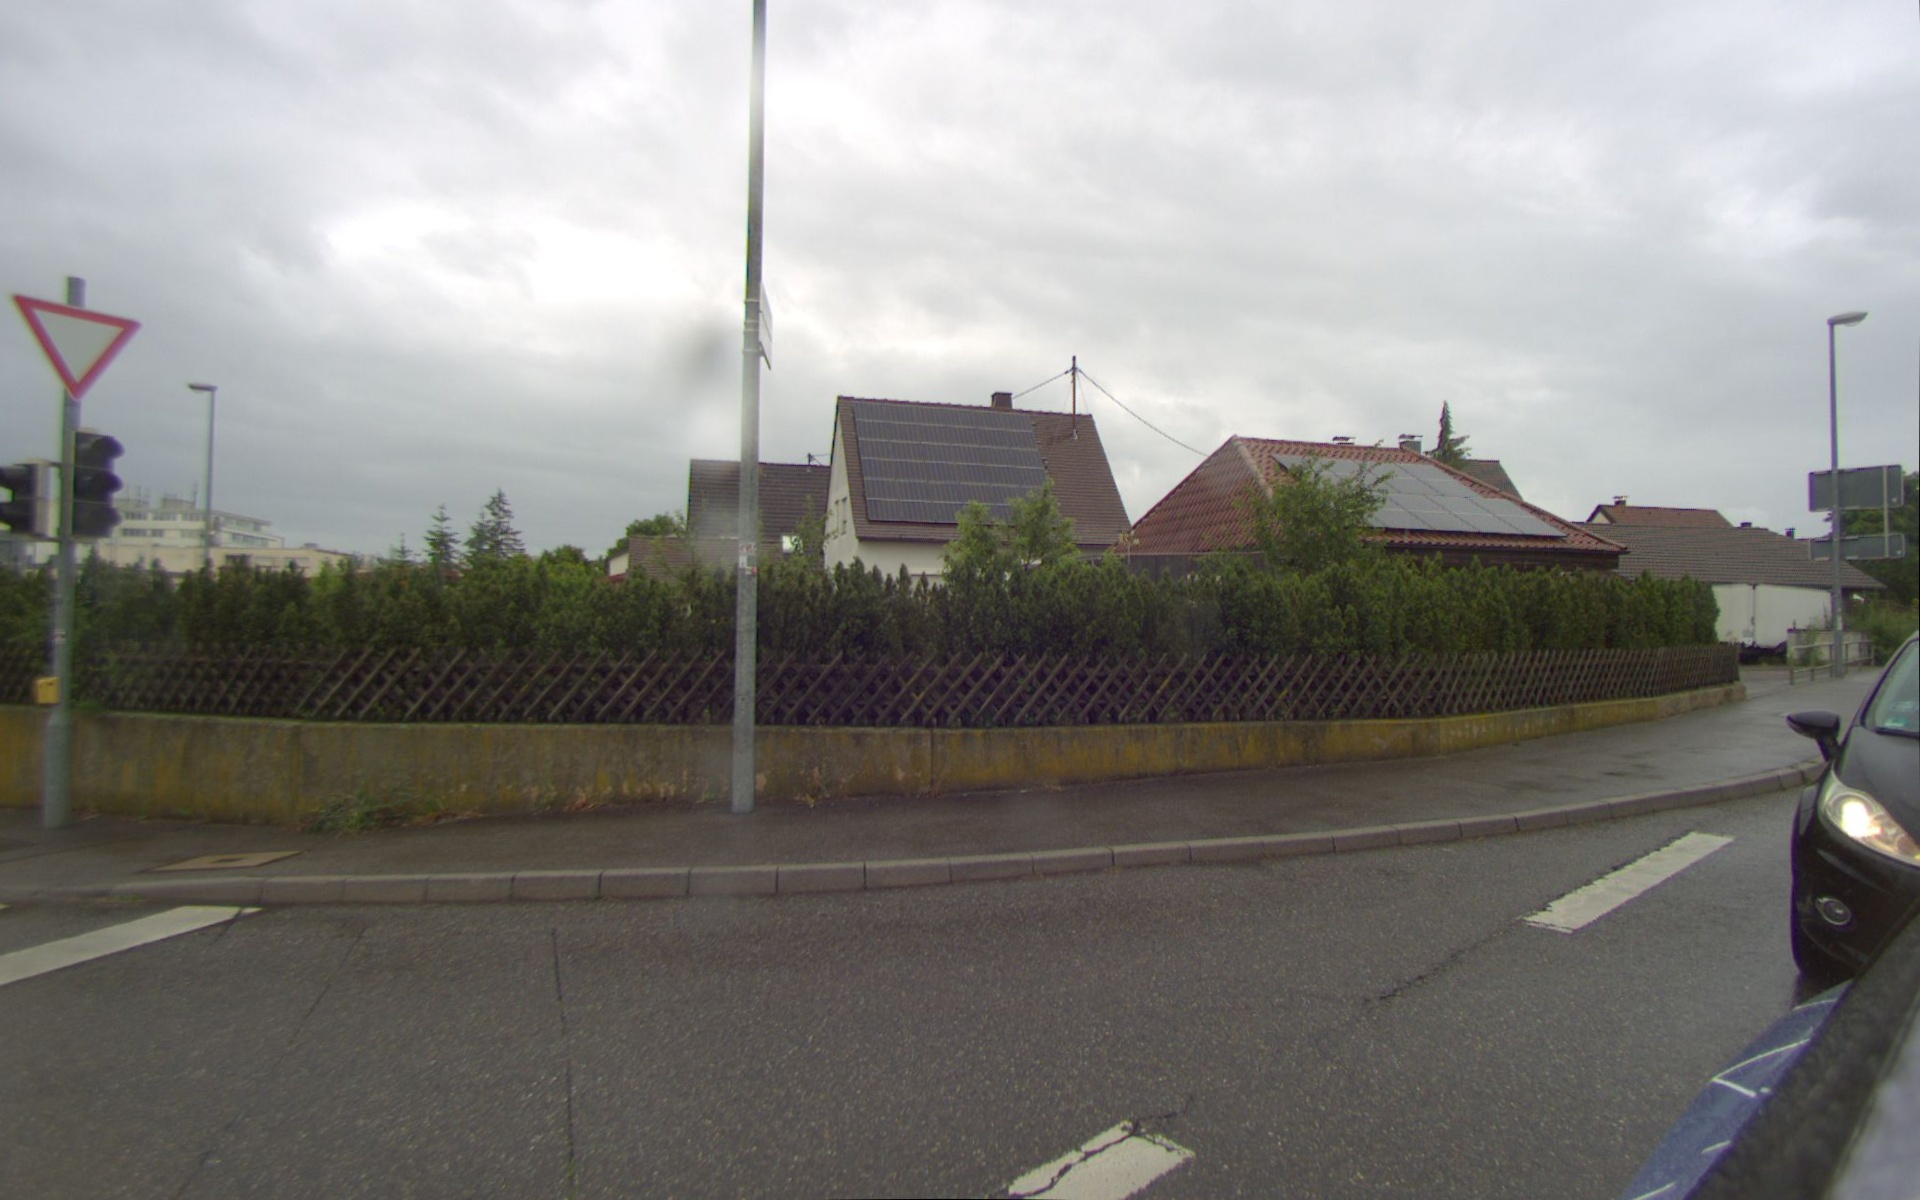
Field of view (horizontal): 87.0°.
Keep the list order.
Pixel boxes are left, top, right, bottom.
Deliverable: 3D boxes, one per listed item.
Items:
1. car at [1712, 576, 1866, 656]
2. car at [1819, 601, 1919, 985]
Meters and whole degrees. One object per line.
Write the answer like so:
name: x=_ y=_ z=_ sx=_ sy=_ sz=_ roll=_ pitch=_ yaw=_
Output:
car: x=25.558 y=0.470 z=31.227 sx=3.916 sy=2.380 sz=1.657 roll=0 pitch=-1 yaw=-14
car: x=5.475 y=0.751 z=4.838 sx=3.867 sy=1.436 sz=1.663 roll=-1 pitch=0 yaw=-43
